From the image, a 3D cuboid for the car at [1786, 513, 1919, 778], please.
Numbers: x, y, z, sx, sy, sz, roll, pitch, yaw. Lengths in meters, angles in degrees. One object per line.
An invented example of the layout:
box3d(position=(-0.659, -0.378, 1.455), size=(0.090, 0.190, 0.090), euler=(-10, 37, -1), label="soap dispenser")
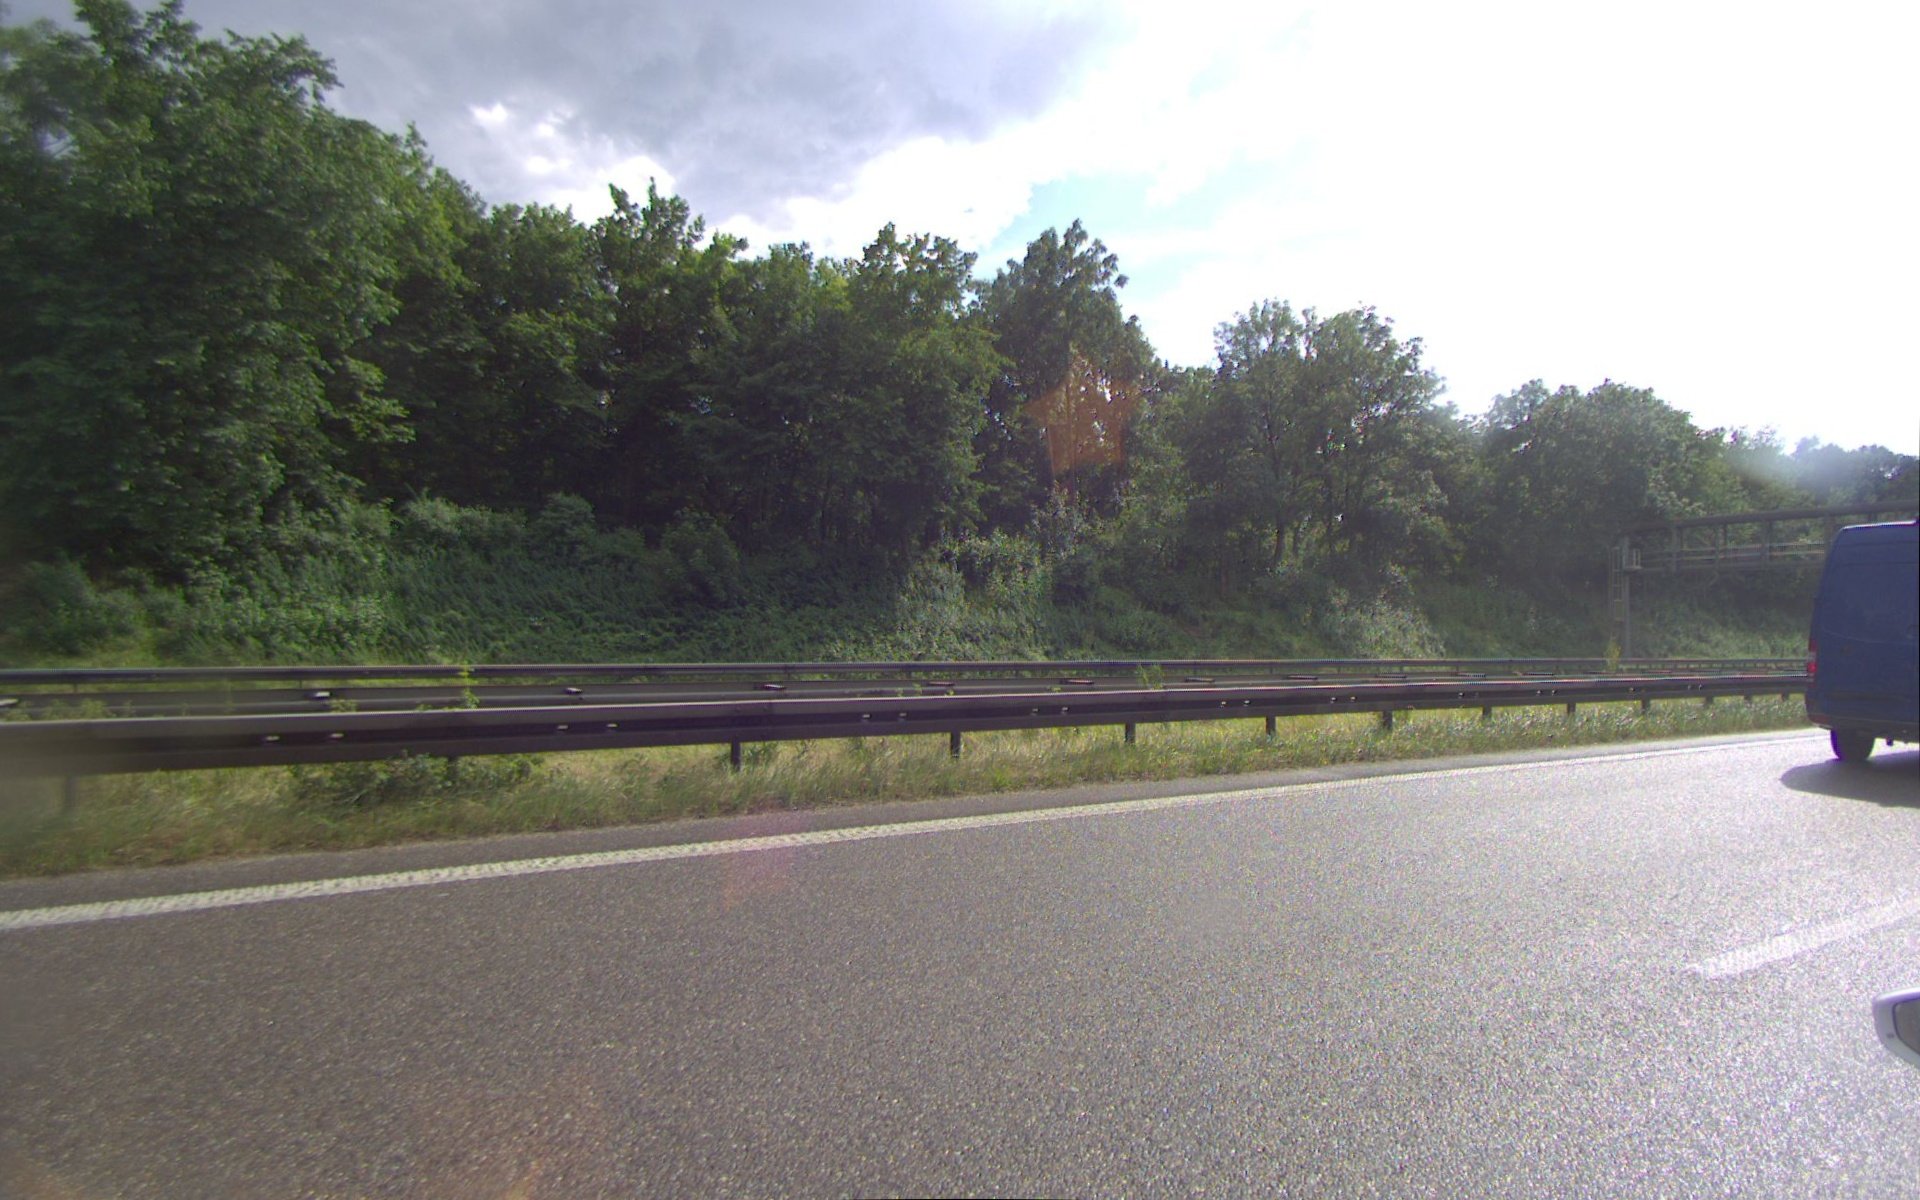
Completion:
box3d(position=(12.120, 0.531, 11.735), size=(5.710, 2.684, 2.005), euler=(2, 0, -31), label="car")
